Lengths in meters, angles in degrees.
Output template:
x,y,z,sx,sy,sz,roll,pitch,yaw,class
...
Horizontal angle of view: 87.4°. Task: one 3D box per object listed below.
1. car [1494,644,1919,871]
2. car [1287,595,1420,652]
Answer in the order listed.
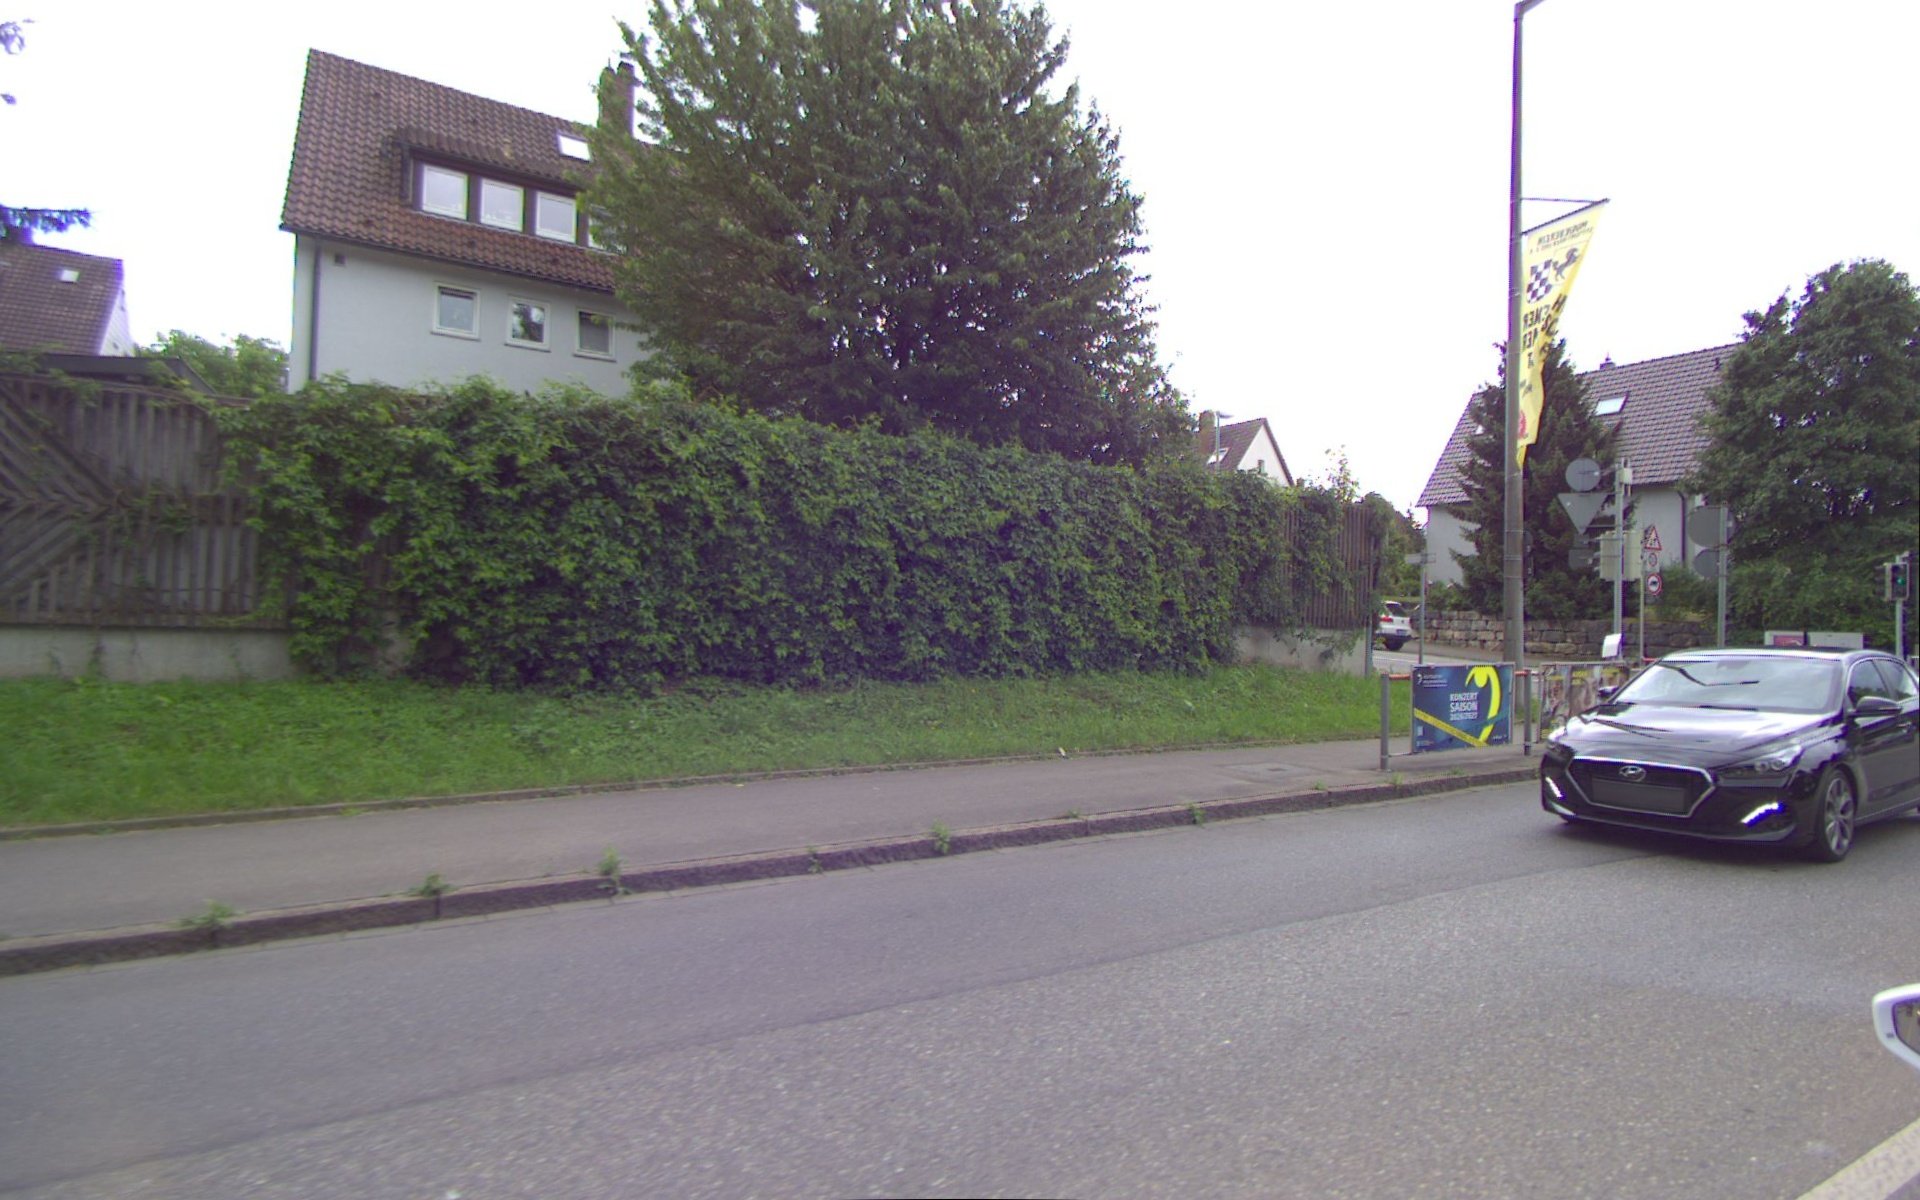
x,y,z,sx,sy,sz,roll,pitch,yaw,class
6.437,1.076,8.160,4.110,1.391,1.804,1,-2,-30,car
13.441,0.770,34.491,1.820,1.620,3.873,1,3,-31,car
